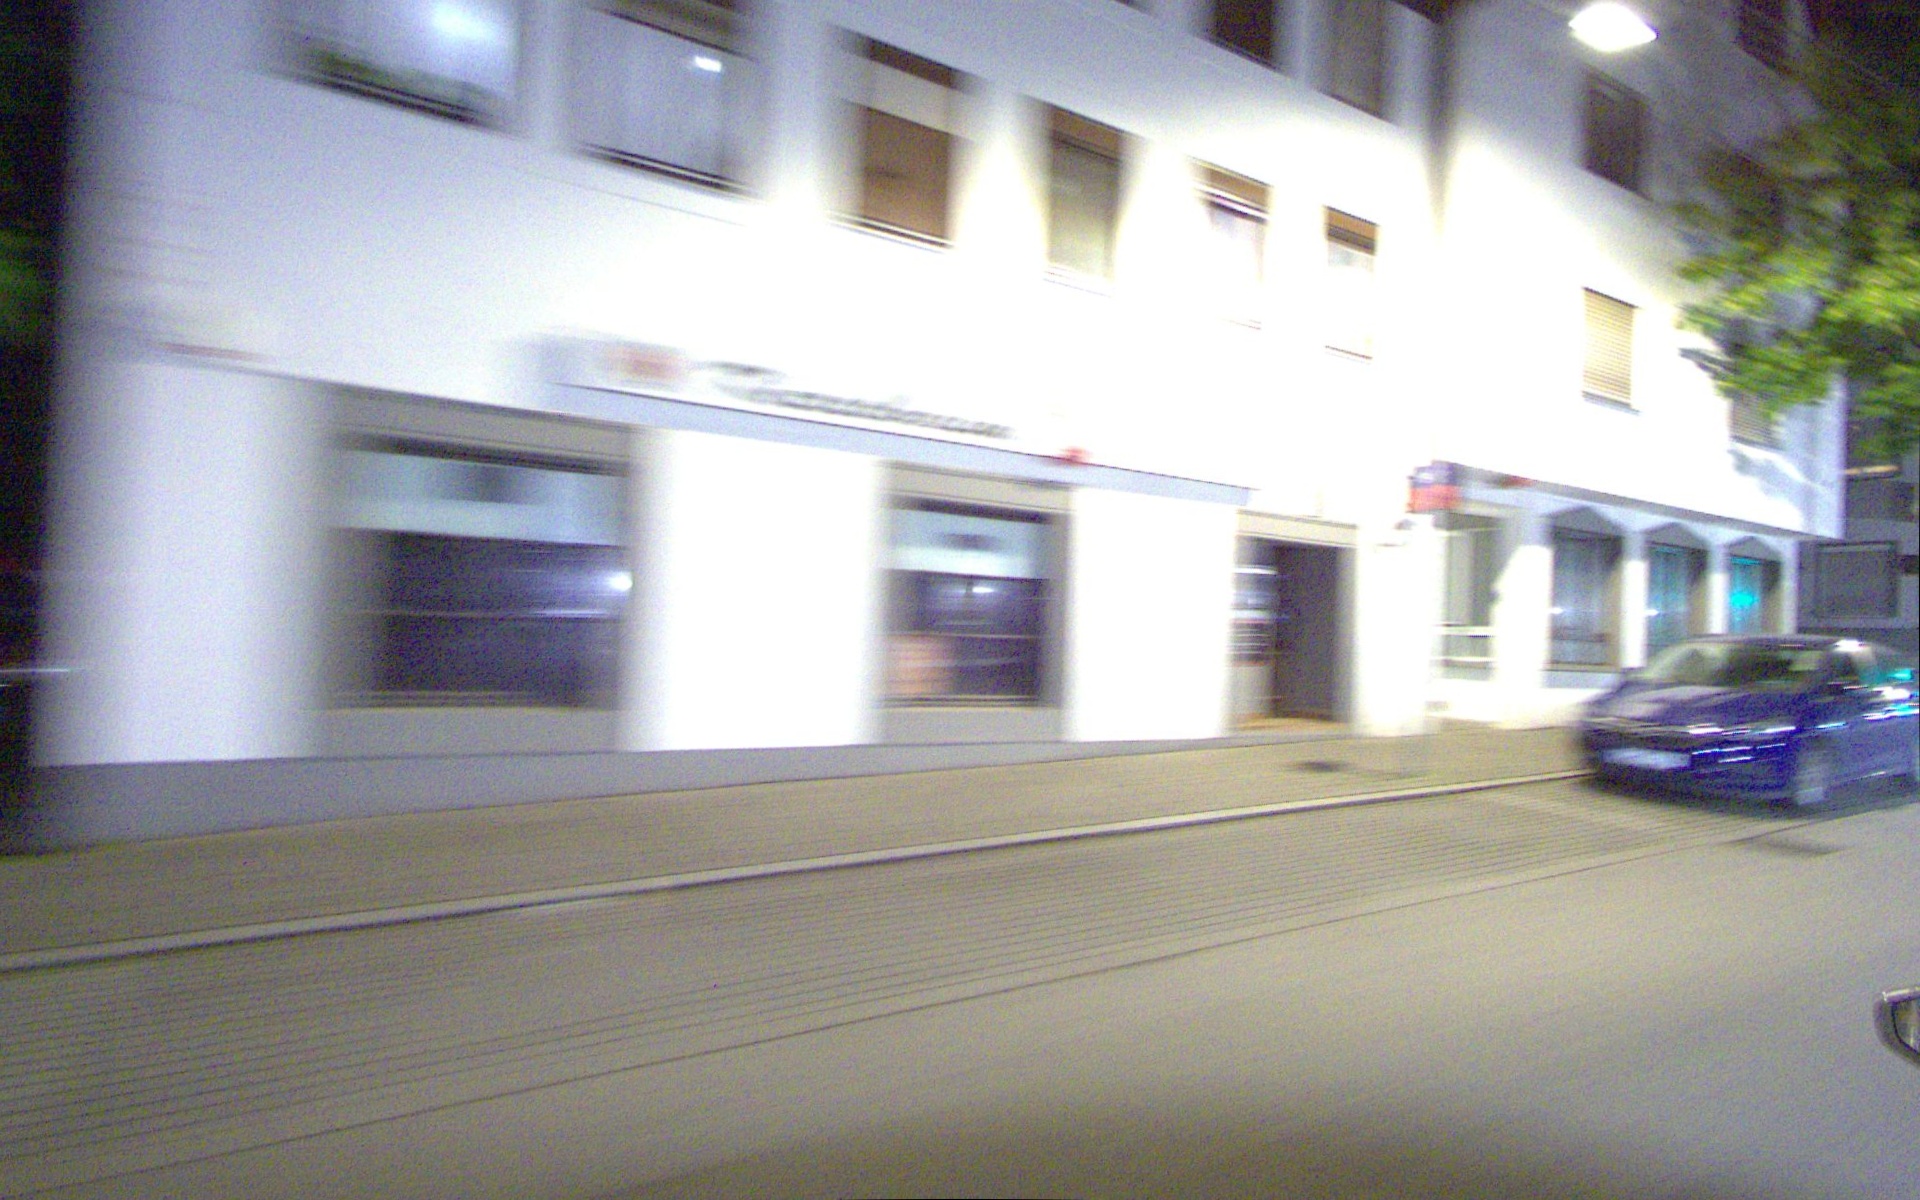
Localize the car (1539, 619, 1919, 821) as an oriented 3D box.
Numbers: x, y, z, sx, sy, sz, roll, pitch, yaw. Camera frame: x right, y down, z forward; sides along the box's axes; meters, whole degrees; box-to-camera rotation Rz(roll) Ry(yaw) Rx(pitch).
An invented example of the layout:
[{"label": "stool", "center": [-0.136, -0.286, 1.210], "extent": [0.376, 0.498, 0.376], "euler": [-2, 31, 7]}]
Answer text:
[{"label": "car", "center": [7.565, 0.981, 9.549], "extent": [4.242, 1.506, 1.718], "euler": [1, 0, -31]}]

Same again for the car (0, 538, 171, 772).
[{"label": "car", "center": [-8.924, 0.406, 9.460], "extent": [1.820, 1.861, 3.908], "euler": [2, 0, -31]}]
